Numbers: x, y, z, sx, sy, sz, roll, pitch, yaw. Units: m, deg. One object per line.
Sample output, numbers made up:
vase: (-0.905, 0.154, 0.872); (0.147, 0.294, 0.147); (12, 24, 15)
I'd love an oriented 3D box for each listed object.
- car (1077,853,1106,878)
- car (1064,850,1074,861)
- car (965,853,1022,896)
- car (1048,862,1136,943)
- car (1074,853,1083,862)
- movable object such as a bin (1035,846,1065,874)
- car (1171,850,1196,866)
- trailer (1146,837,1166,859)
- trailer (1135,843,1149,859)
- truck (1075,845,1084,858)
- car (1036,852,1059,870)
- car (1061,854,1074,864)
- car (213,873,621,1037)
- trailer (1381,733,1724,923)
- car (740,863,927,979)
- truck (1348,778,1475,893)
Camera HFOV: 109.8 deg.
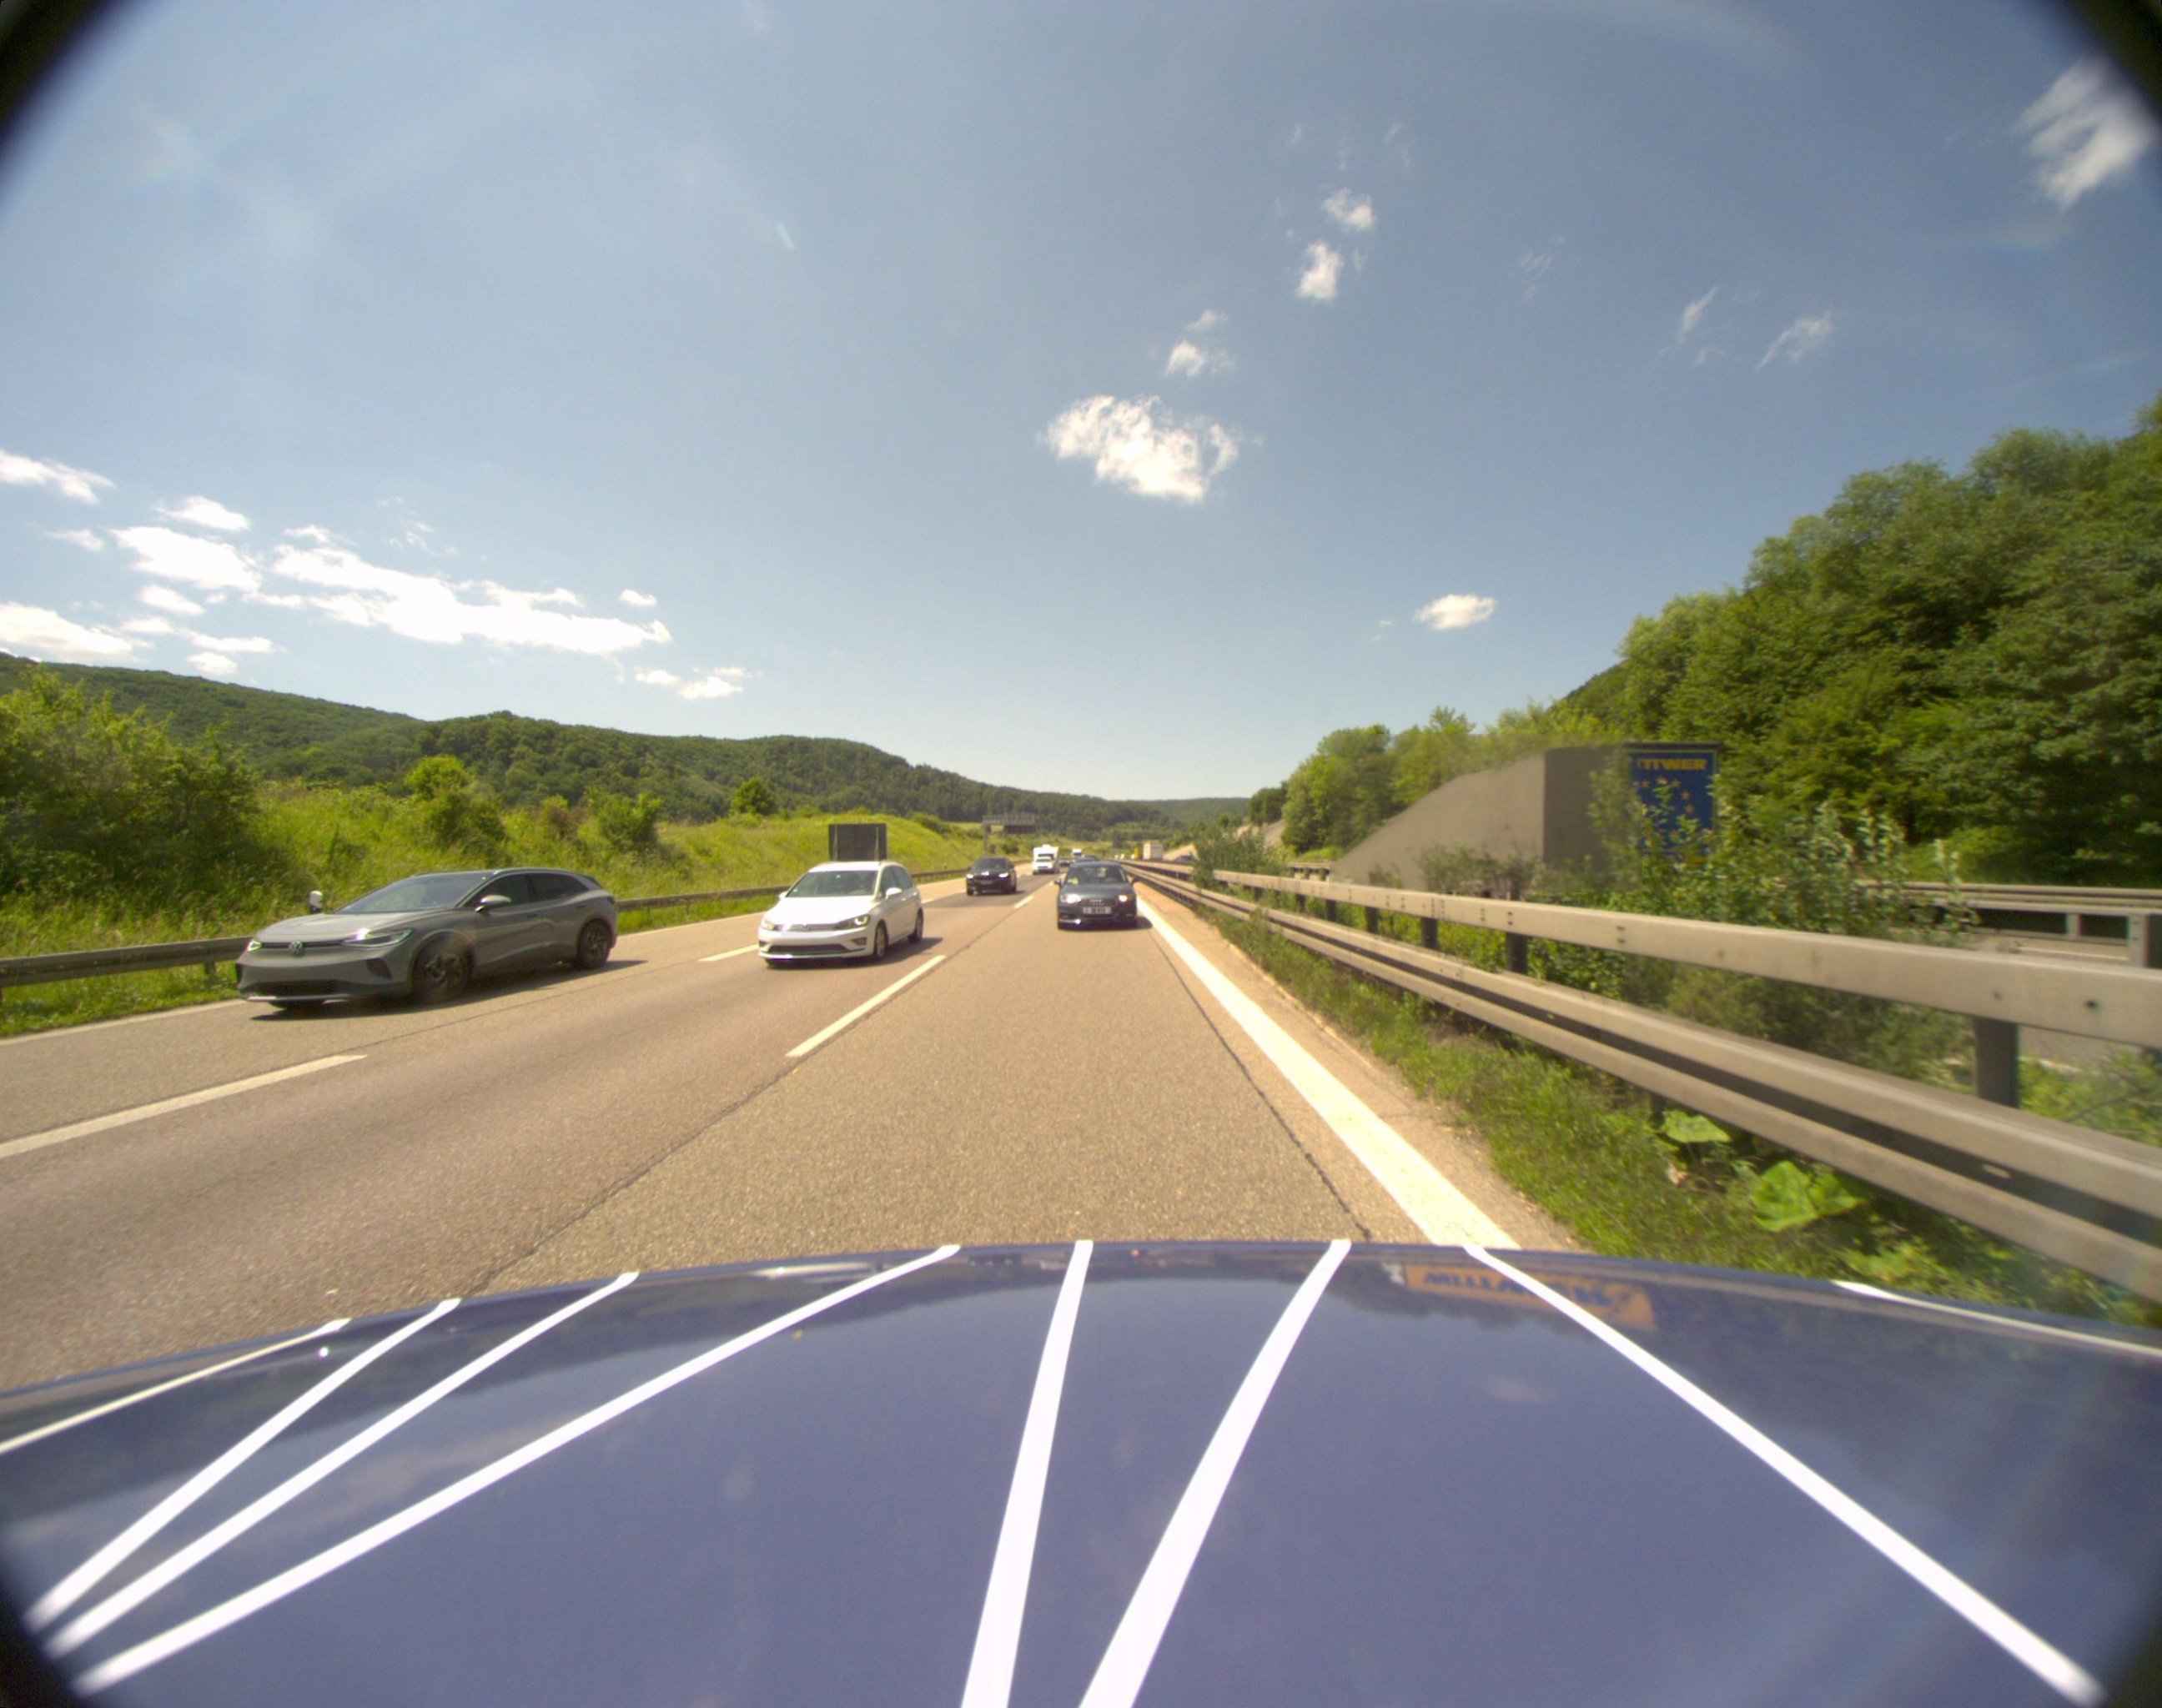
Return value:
car: (0.753, 0.741, 51.496); (1.835, 1.586, 4.001); (-1, 0, 2)
car: (-2.366, 0.317, 147.864); (1.999, 2.002, 3.999); (-1, 0, -1)
car: (-3.781, 0.842, 33.525); (1.893, 1.761, 4.172); (-1, 0, 2)
car: (0.340, 0.926, 16.148); (1.591, 1.401, 4.001); (-2, 0, 4)
car: (-0.640, 0.893, 175.615); (1.998, 2.002, 4.000); (-1, 1, 1)
movable object such as a bin: (-3.034, 0.559, 76.736); (2.481, 2.616, 6.709); (-2, 0, 2)
car: (9.413, 0.350, 70.063); (1.874, 1.412, 4.433); (0, 0, 2)
trailer: (14.561, -1.121, 148.373); (2.863, 4.052, 11.263); (0, 0, 1)
trailer: (16.099, -0.859, 201.013); (2.834, 4.123, 10.405); (-2, 0, 1)
truck: (-0.335, -0.622, 220.520); (2.336, 3.623, 7.006); (-2, 0, 1)
car: (-3.051, 0.652, 69.716); (1.821, 1.574, 4.000); (-1, 0, 1)
car: (-2.057, 0.725, 114.201); (1.711, 1.542, 4.000); (-1, 0, 1)
car: (-8.379, 1.129, 10.247); (1.683, 1.585, 4.248); (-2, 0, 1)
trailer: (12.582, -0.573, 22.558); (2.587, 3.982, 12.601); (-2, 0, 2)
car: (-3.921, 0.971, 12.810); (1.777, 1.532, 4.054); (-2, 0, 0)
truck: (12.814, -0.660, 29.993); (2.554, 4.066, 5.850); (-1, 0, 2)
